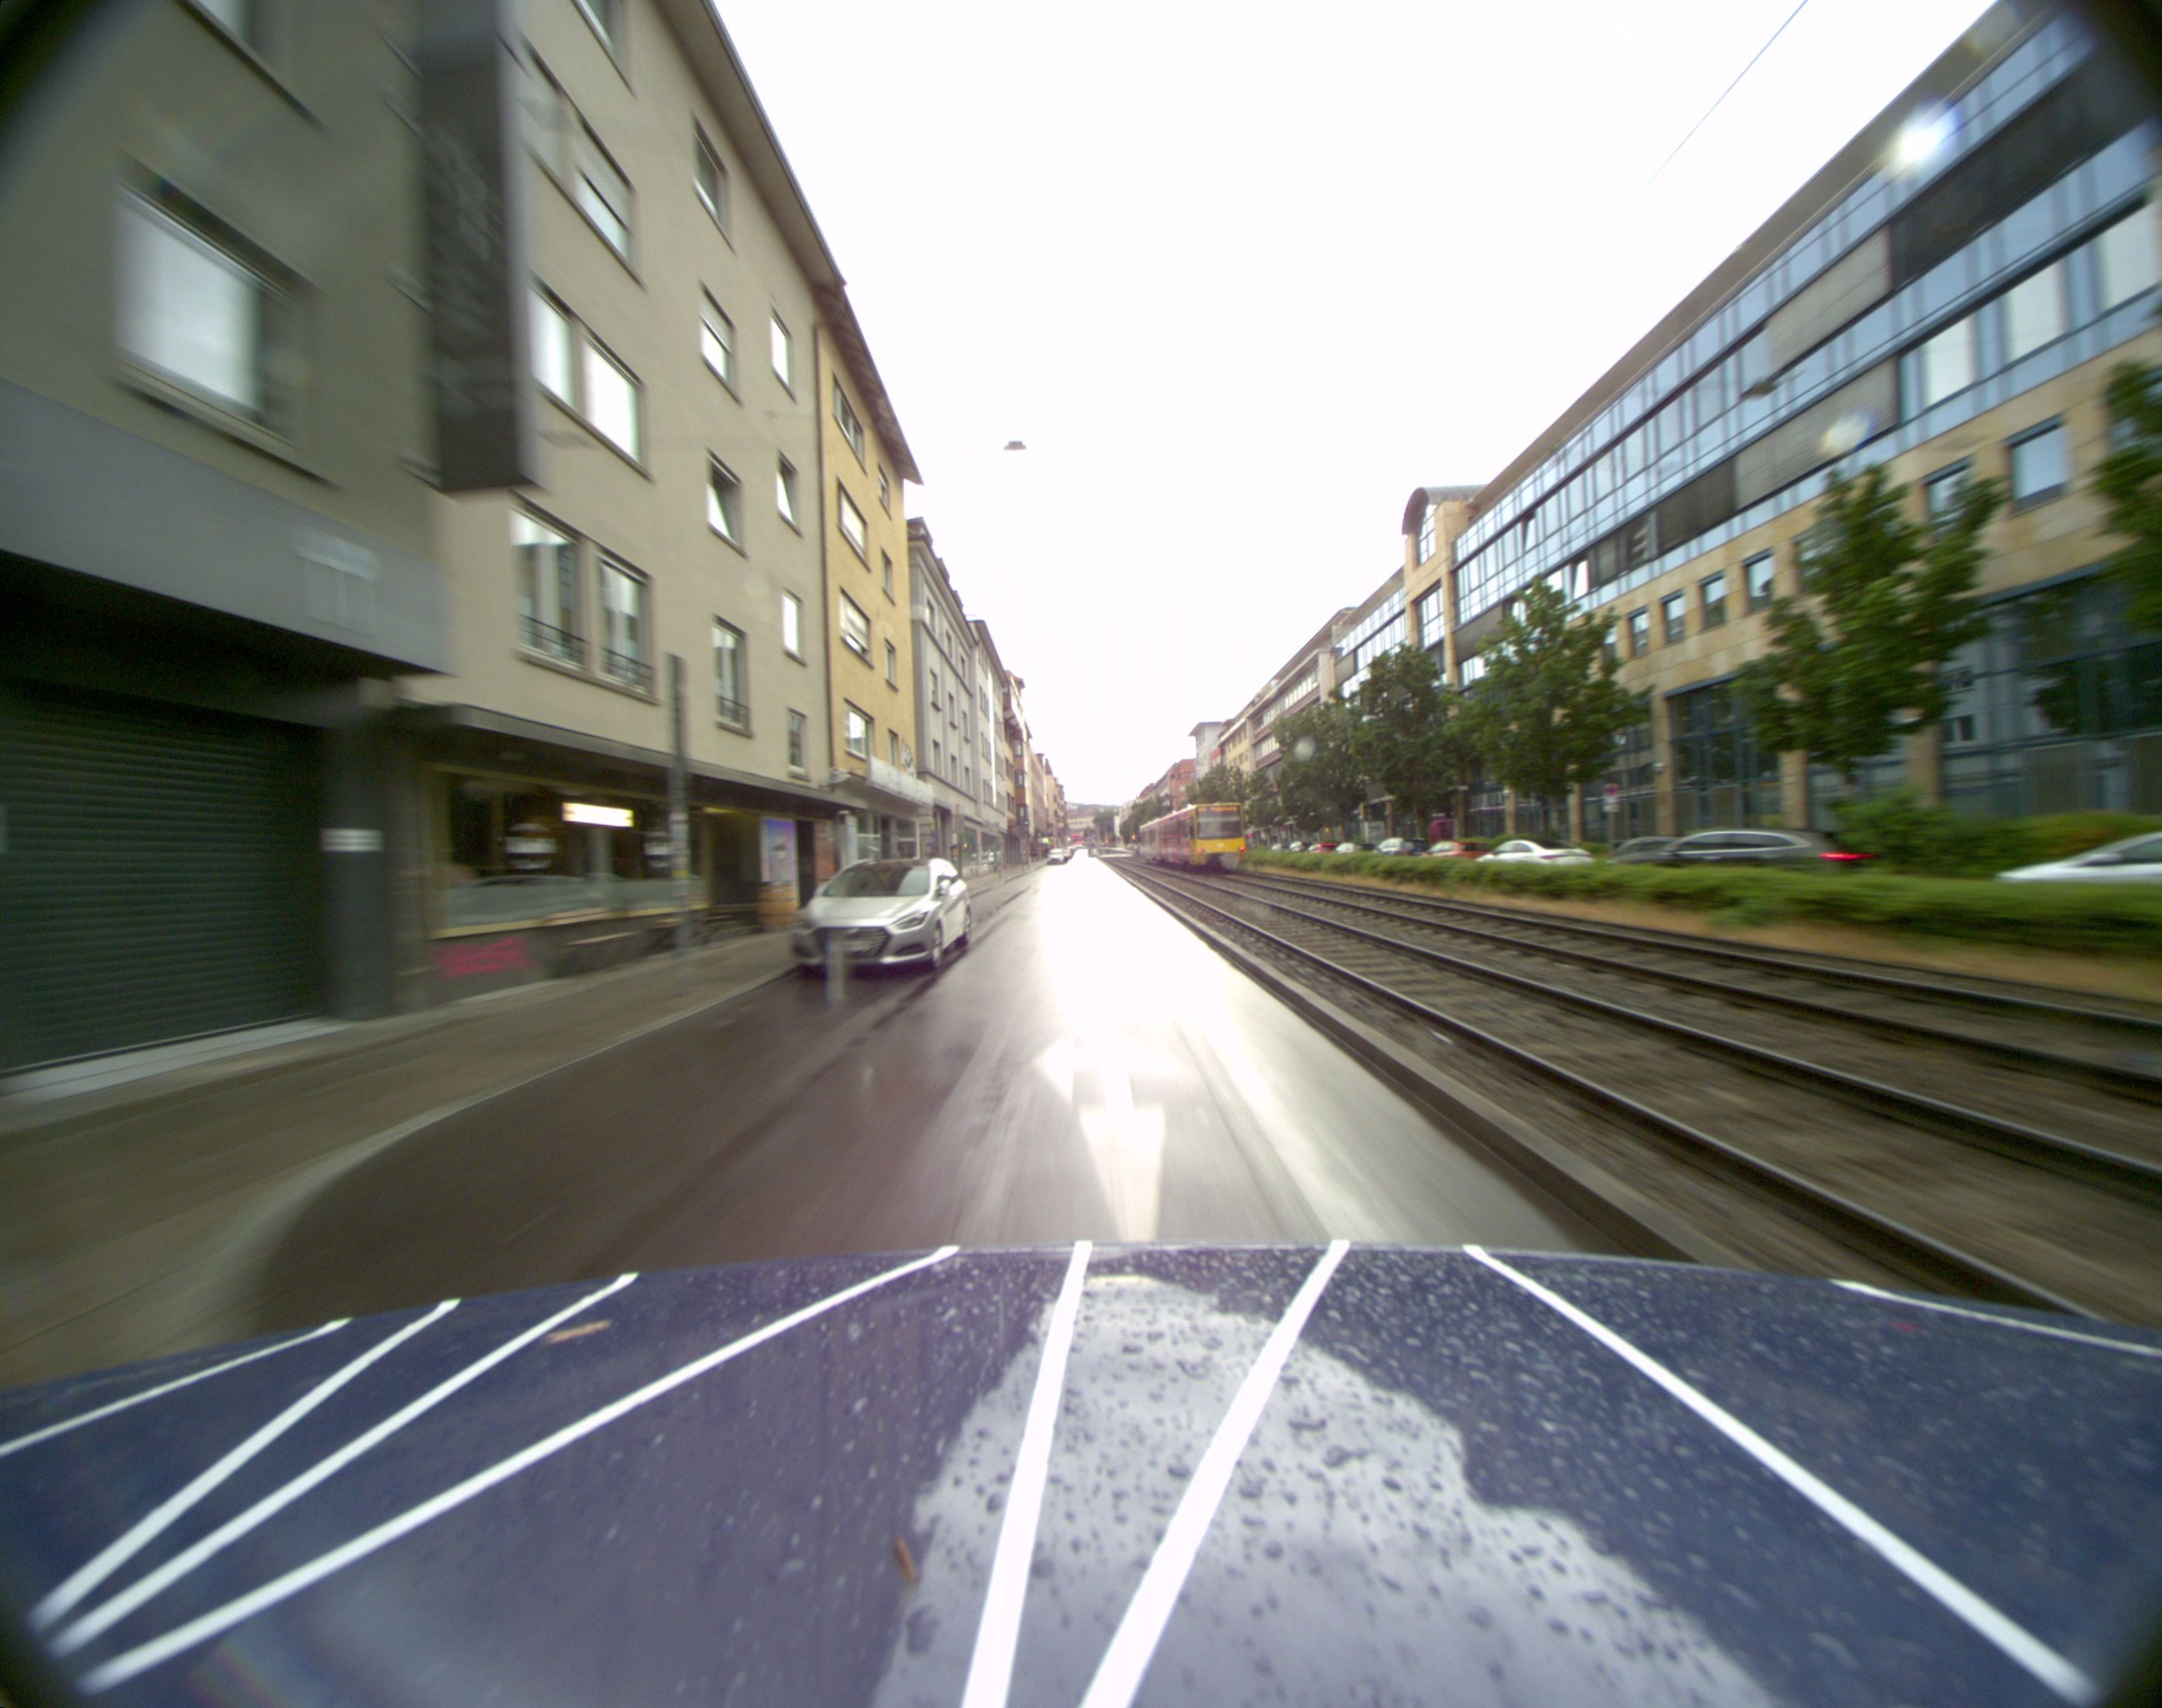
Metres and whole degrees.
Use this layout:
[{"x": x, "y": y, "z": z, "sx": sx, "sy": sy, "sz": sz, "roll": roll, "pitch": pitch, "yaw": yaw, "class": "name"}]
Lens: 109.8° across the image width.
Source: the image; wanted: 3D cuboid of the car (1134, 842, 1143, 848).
[{"x": 15.173, "y": -2.400, "z": 202.050, "sx": 1.999, "sy": 1.652, "sz": 3.999, "roll": -2, "pitch": 1, "yaw": -1, "class": "car"}]

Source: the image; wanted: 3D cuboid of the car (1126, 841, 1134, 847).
[{"x": 15.096, "y": -3.153, "z": 233.140, "sx": 1.999, "sy": 1.779, "sz": 3.999, "roll": -2, "pitch": 1, "yaw": -1, "class": "car"}]

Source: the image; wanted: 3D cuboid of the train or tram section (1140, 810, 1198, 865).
[{"x": 7.235, "y": -1.393, "z": 65.609, "sx": 2.909, "sy": 4.027, "sz": 18.408, "roll": -1, "pitch": 1, "yaw": 0, "class": "train or tram section"}]

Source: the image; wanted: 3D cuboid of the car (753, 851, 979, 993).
[{"x": -2.856, "y": 0.796, "z": 11.303, "sx": 2.029, "sy": 1.584, "sz": 4.620, "roll": -2, "pitch": 1, "yaw": 0, "class": "car"}]

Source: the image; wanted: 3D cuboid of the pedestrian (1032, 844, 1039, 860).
[{"x": -4.805, "y": -0.234, "z": 80.577, "sx": 0.640, "sy": 1.691, "sz": 0.883, "roll": -2, "pitch": 1, "yaw": 1, "class": "pedestrian"}]

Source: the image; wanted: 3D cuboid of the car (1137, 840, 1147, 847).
[{"x": 15.480, "y": -2.569, "z": 192.430, "sx": 1.999, "sy": 1.652, "sz": 3.999, "roll": -1, "pitch": 1, "yaw": -1, "class": "car"}]

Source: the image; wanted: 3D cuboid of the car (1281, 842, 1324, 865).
[{"x": 15.442, "y": -0.069, "z": 53.184, "sx": 1.653, "sy": 1.532, "sz": 4.621, "roll": -2, "pitch": 1, "yaw": 1, "class": "car"}]

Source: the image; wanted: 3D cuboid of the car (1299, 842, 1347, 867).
[{"x": 15.353, "y": 0.010, "z": 48.426, "sx": 1.653, "sy": 1.532, "sz": 4.621, "roll": -2, "pitch": 1, "yaw": 1, "class": "car"}]

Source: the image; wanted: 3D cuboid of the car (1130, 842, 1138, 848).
[{"x": 14.968, "y": -2.602, "z": 215.502, "sx": 1.999, "sy": 1.779, "sz": 4.163, "roll": -2, "pitch": 1, "yaw": -1, "class": "car"}]

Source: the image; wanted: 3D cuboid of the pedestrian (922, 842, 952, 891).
[{"x": -5.014, "y": 0.442, "z": 26.504, "sx": 0.793, "sy": 1.650, "sz": 0.721, "roll": -3, "pitch": 1, "yaw": 0, "class": "pedestrian"}]

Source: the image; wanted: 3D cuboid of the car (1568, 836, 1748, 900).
[{"x": 15.224, "y": 0.344, "z": 20.364, "sx": 1.693, "sy": 1.477, "sz": 4.000, "roll": -2, "pitch": 0, "yaw": -1, "class": "car"}]

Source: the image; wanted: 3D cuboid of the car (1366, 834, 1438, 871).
[{"x": 15.176, "y": -0.090, "z": 36.214, "sx": 1.653, "sy": 1.592, "sz": 4.292, "roll": -2, "pitch": 1, "yaw": 1, "class": "car"}]

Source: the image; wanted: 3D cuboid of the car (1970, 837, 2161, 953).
[{"x": 15.015, "y": 0.520, "z": 9.943, "sx": 1.693, "sy": 1.477, "sz": 4.255, "roll": -2, "pitch": 0, "yaw": -1, "class": "car"}]

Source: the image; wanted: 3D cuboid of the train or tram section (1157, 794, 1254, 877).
[{"x": 7.104, "y": -1.098, "z": 46.970, "sx": 2.909, "sy": 4.027, "sz": 18.764, "roll": -1, "pitch": 1, "yaw": 0, "class": "train or tram section"}]

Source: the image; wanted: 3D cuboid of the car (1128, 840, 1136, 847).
[{"x": 15.155, "y": -3.127, "z": 227.369, "sx": 1.999, "sy": 1.779, "sz": 3.999, "roll": -2, "pitch": 1, "yaw": -1, "class": "car"}]

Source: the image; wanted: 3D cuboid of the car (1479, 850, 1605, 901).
[{"x": 15.055, "y": 0.641, "z": 25.111, "sx": 1.653, "sy": 1.489, "sz": 4.192, "roll": -2, "pitch": 1, "yaw": 1, "class": "car"}]

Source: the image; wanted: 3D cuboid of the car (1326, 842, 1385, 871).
[{"x": 15.314, "y": 0.105, "z": 42.586, "sx": 1.653, "sy": 1.532, "sz": 4.621, "roll": -2, "pitch": 1, "yaw": 1, "class": "car"}]

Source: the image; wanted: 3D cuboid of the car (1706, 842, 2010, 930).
[{"x": 15.435, "y": 0.585, "z": 15.504, "sx": 1.693, "sy": 1.477, "sz": 4.295, "roll": -2, "pitch": 0, "yaw": -2, "class": "car"}]

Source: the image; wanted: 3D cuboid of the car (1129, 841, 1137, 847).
[{"x": 15.213, "y": -2.821, "z": 221.466, "sx": 1.999, "sy": 1.779, "sz": 3.999, "roll": -2, "pitch": 1, "yaw": -1, "class": "car"}]

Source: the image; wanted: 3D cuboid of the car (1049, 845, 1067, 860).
[{"x": -2.389, "y": -0.162, "z": 78.462, "sx": 1.653, "sy": 1.489, "sz": 4.067, "roll": -2, "pitch": 1, "yaw": 1, "class": "car"}]

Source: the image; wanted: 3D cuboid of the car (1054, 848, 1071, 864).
[{"x": -1.983, "y": 0.196, "z": 83.059, "sx": 1.653, "sy": 1.584, "sz": 4.067, "roll": -2, "pitch": 1, "yaw": 1, "class": "car"}]

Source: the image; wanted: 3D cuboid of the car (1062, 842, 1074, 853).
[{"x": -1.913, "y": -0.915, "z": 112.769, "sx": 1.653, "sy": 1.584, "sz": 4.067, "roll": -2, "pitch": 1, "yaw": 1, "class": "car"}]

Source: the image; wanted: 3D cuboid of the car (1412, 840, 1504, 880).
[{"x": 15.195, "y": 0.218, "z": 30.922, "sx": 1.653, "sy": 1.489, "sz": 4.292, "roll": -2, "pitch": 1, "yaw": 1, "class": "car"}]
